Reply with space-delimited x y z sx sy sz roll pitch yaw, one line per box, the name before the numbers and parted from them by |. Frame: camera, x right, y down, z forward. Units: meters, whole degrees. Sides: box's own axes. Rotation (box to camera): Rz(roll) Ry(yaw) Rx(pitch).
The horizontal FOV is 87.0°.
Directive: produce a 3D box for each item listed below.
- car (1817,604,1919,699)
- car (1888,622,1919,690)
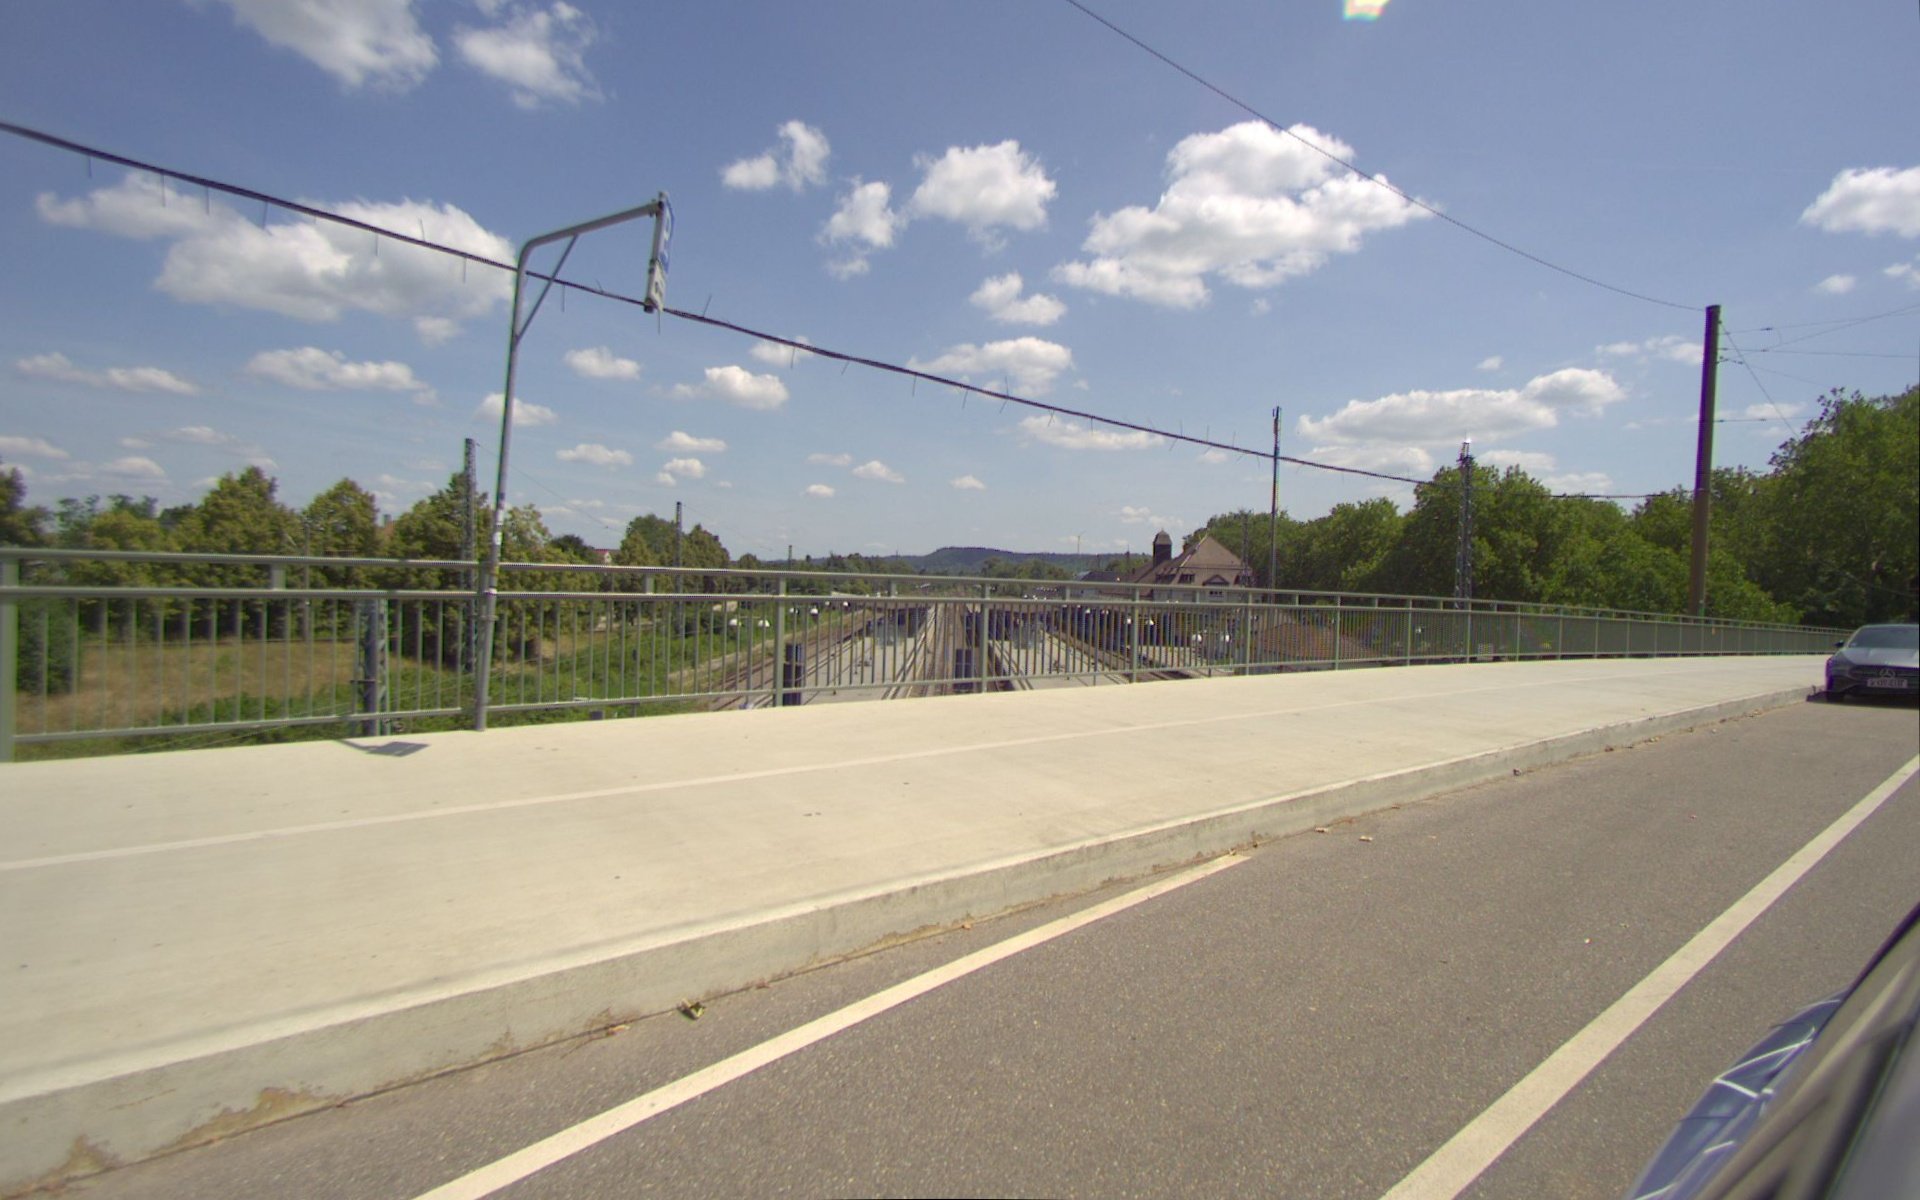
car | 17.468 0.939 18.552 4.637 1.572 1.997 3 -2 -41
car | 22.656 1.289 23.188 4.210 1.479 1.649 2 -2 -42
